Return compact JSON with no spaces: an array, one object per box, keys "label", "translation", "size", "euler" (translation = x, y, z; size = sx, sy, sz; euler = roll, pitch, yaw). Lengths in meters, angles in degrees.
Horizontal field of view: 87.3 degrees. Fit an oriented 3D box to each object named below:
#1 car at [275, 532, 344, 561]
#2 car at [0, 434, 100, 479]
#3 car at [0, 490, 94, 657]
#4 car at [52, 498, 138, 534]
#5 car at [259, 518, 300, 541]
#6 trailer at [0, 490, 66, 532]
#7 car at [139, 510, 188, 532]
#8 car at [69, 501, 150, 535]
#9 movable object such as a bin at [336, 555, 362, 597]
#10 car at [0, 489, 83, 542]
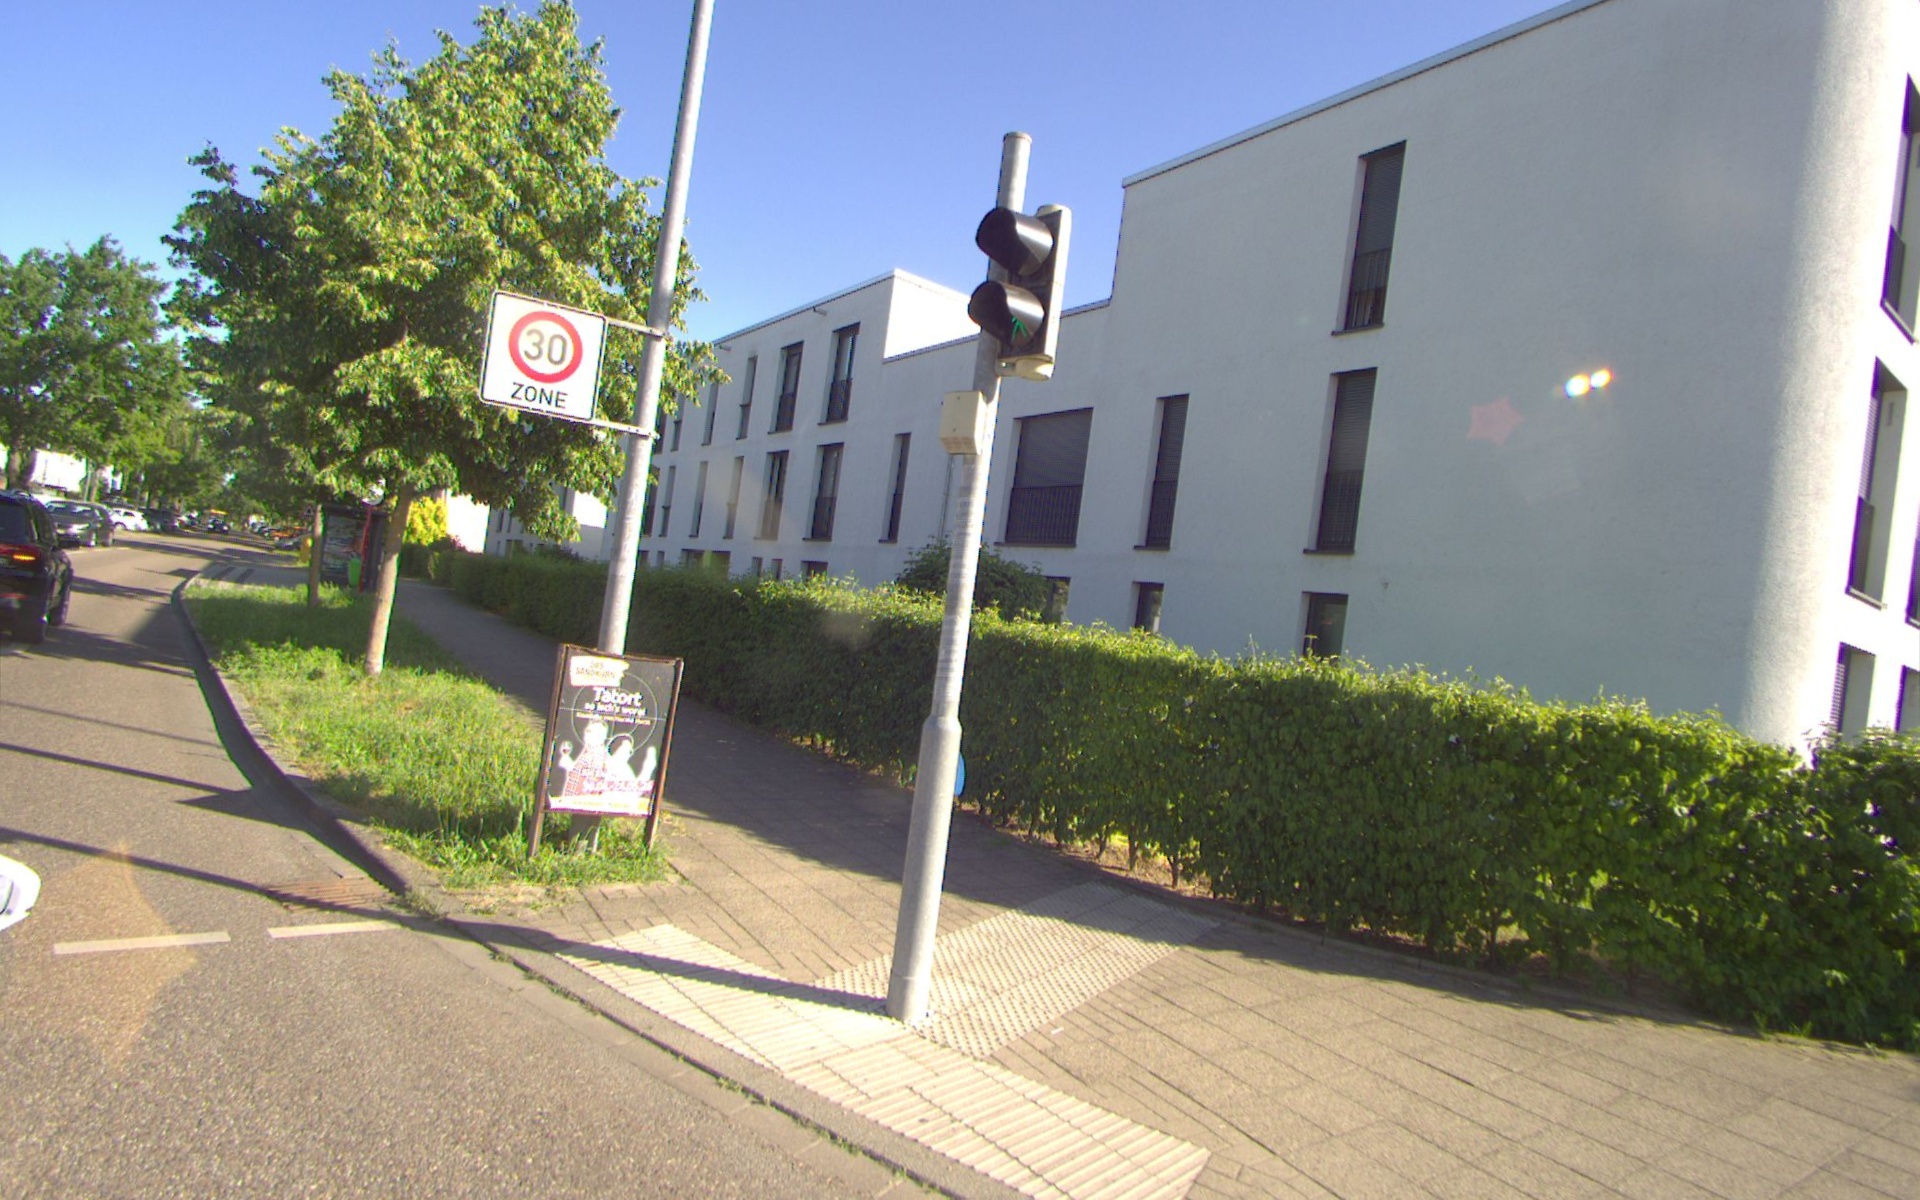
[{"label":"car","translation":[-46.624,-3.834,72.121],"size":[3.965,1.384,1.829],"euler":[9,-1,-35]},{"label":"car","translation":[-47.325,-7.453,52.414],"size":[3.529,1.494,1.791],"euler":[9,-1,-35]},{"label":"car","translation":[-11.711,-0.511,11.885],"size":[1.923,1.673,4.464],"euler":[11,-3,-39]},{"label":"car","translation":[-57.409,-5.560,66.888],"size":[3.963,1.689,1.982],"euler":[9,-1,-34]},{"label":"car","translation":[-82.207,-8.455,121.559],"size":[3.964,2.036,1.983],"euler":[8,-3,-34]},{"label":"trailer","translation":[-46.858,-4.495,50.315],"size":[2.954,1.675,1.381],"euler":[8,-1,-39]},{"label":"car","translation":[-86.901,-8.610,109.806],"size":[3.975,1.704,1.900],"euler":[9,-1,-43]},{"label":"car","translation":[-60.247,-5.779,71.354],"size":[3.963,1.659,1.982],"euler":[9,-1,-33]},{"label":"movable object such as a bin","translation":[-16.331,-0.643,26.880],"size":[0.367,1.028,0.592],"euler":[8,0,-44]},{"label":"car","translation":[-32.217,-2.921,34.904],"size":[1.983,1.459,4.410],"euler":[10,-3,-34]}]
